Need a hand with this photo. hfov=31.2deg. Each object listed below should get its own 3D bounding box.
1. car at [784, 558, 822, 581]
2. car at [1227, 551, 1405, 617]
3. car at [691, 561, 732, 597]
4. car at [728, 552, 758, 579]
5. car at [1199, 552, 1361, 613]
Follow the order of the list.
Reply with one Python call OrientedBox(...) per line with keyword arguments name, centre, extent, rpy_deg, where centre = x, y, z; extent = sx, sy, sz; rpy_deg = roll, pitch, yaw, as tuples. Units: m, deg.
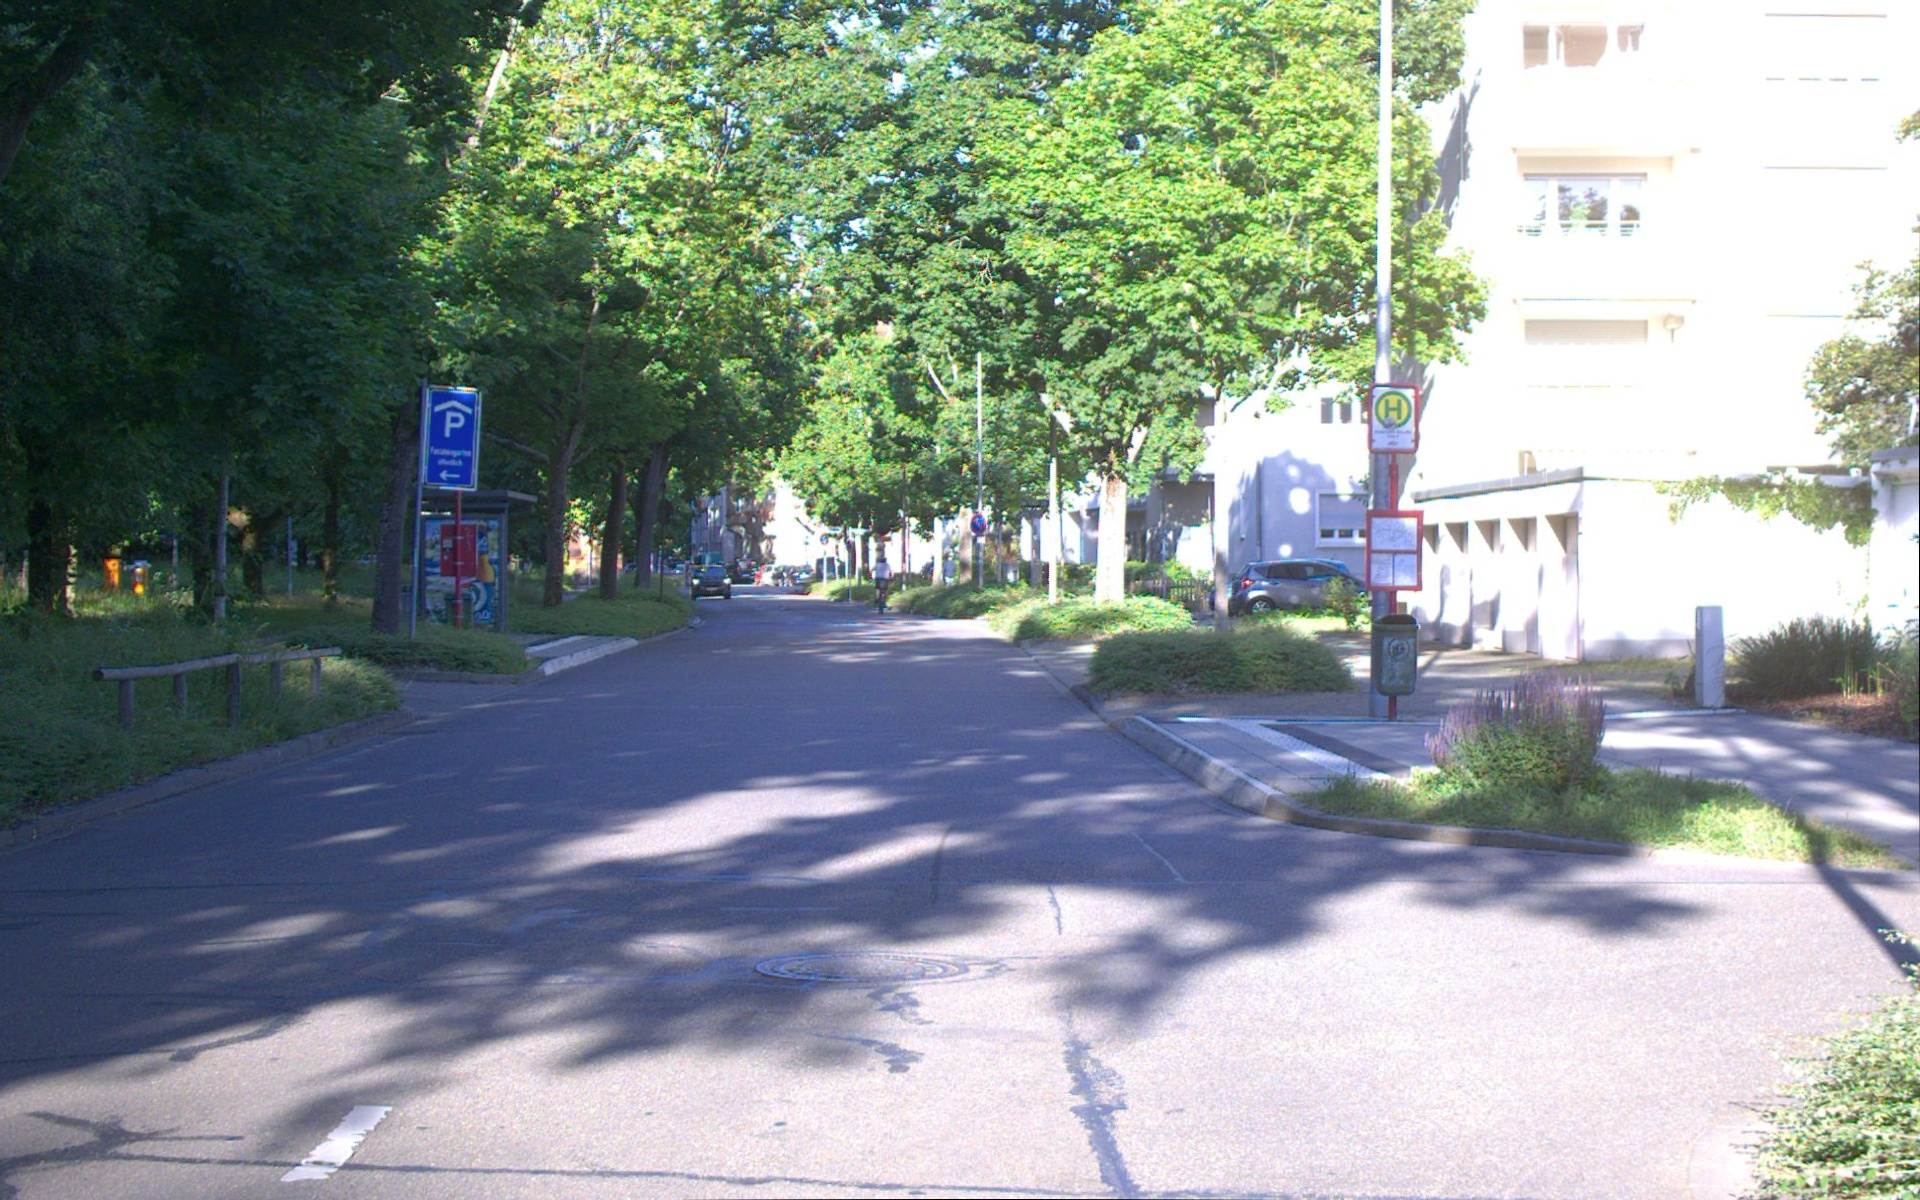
OrientedBox(name="car", centre=(-10.271, -1.992, 224.393), extent=(1.811, 1.496, 4.001), rpy_deg=(0, 1, -12))
OrientedBox(name="car", centre=(8.633, -0.385, 83.510), extent=(4.040, 1.509, 1.727), rpy_deg=(1, -1, -4))
OrientedBox(name="car", centre=(-11.546, -0.979, 159.844), extent=(1.844, 1.573, 4.336), rpy_deg=(-2, 1, -4))
OrientedBox(name="car", centre=(-15.933, -2.568, 252.685), extent=(1.811, 1.919, 4.001), rpy_deg=(1, 1, -9))
OrientedBox(name="car", centre=(8.478, -0.479, 91.279), extent=(3.986, 1.576, 1.810), rpy_deg=(0, 2, -5))
